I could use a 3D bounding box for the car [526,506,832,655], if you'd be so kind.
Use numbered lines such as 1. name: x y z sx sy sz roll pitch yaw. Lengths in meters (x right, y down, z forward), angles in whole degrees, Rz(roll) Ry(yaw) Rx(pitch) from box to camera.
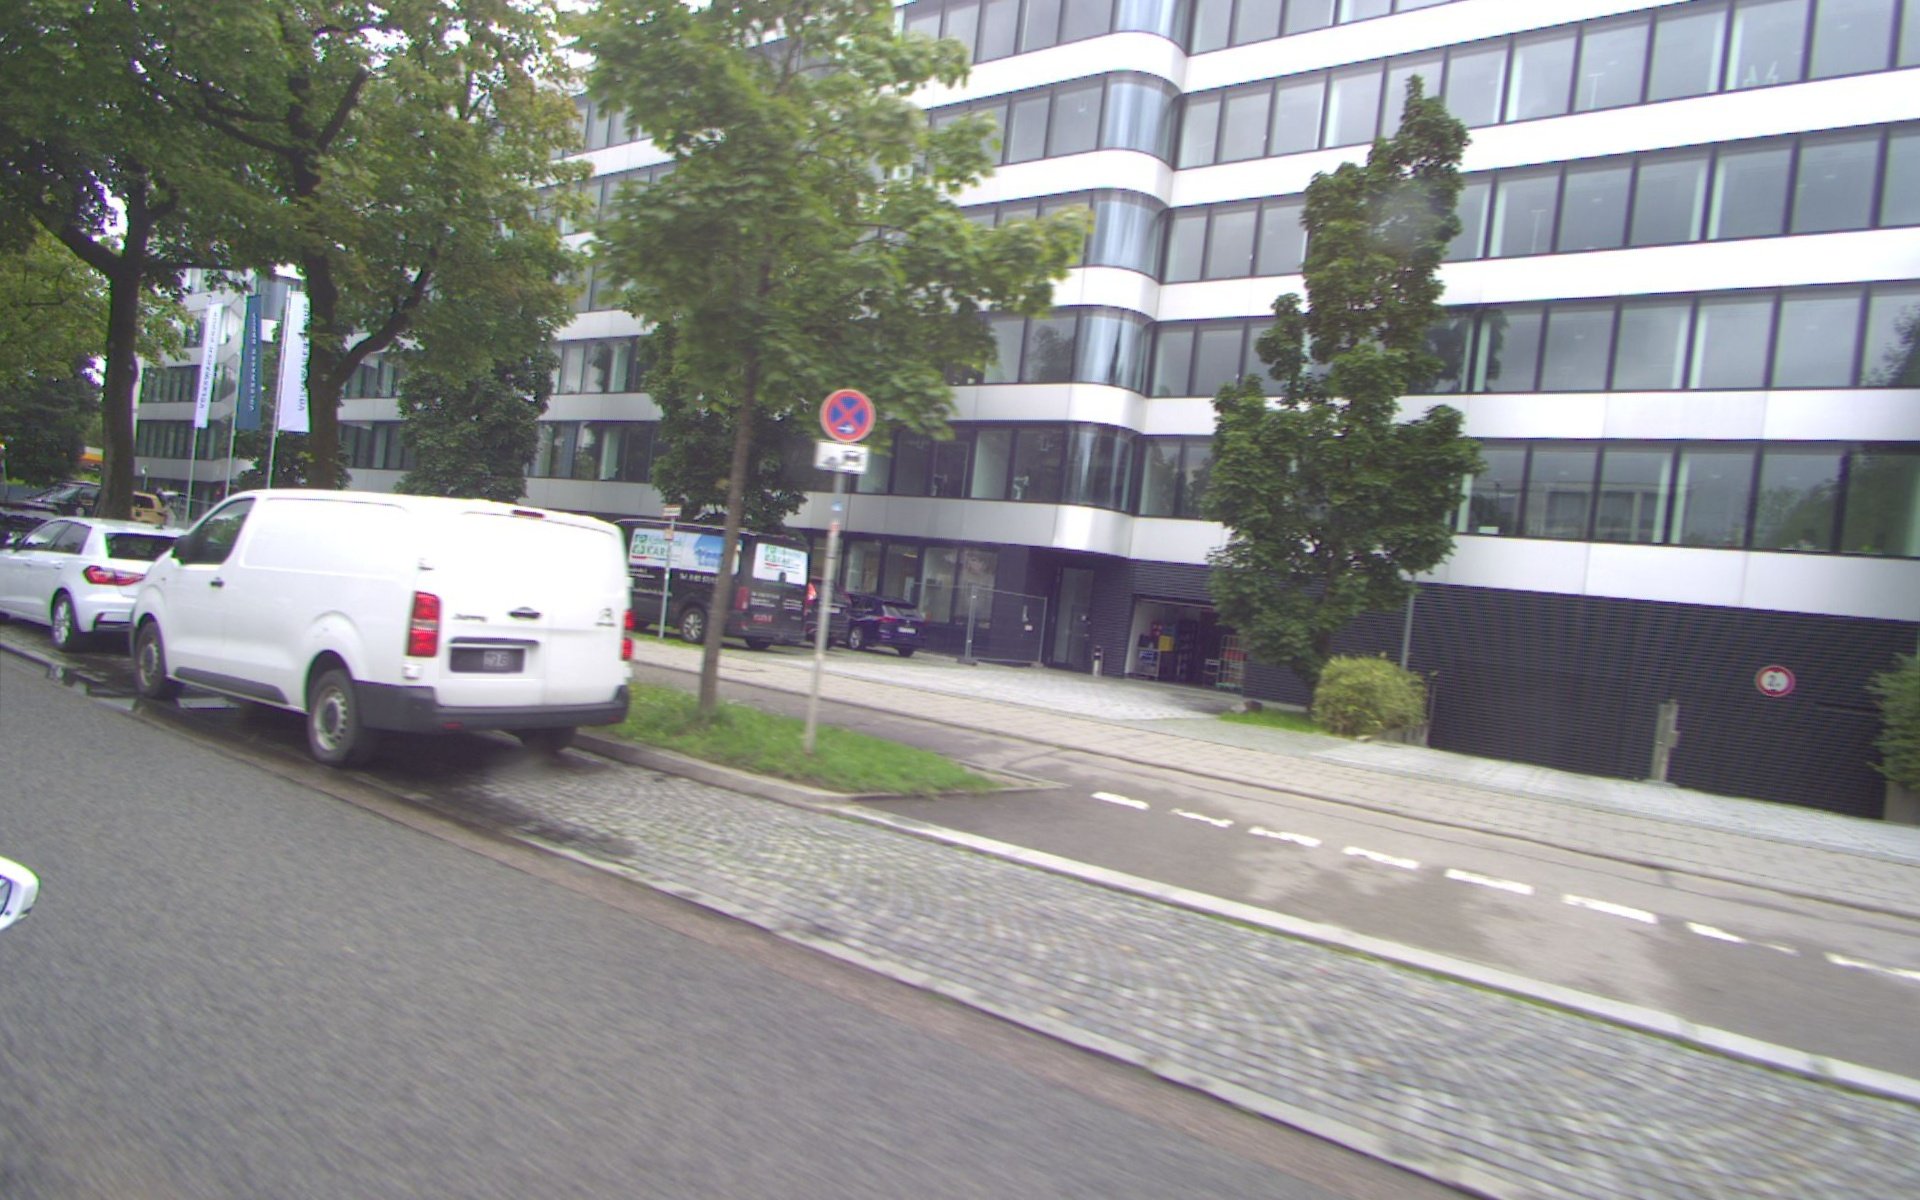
1. car: -5.883 -0.444 20.694 6.162 2.336 2.267 7 1 31

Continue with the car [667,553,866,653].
1. car: -4.628 0.055 23.871 4.396 1.841 1.844 7 1 31

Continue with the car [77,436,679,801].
1. car: -5.104 -0.063 8.475 5.464 2.185 1.988 7 1 33

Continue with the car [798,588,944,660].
1. car: -2.385 0.596 26.194 1.775 1.391 3.921 7 -1 -39

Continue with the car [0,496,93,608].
1. car: -14.930 -0.861 15.175 3.913 1.465 1.703 7 1 33

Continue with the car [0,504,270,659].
1. car: -10.235 -0.272 12.049 4.163 1.415 1.703 7 1 33

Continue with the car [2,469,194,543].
1. car: -34.967 -3.751 41.013 2.111 2.109 5.477 7 0 31
